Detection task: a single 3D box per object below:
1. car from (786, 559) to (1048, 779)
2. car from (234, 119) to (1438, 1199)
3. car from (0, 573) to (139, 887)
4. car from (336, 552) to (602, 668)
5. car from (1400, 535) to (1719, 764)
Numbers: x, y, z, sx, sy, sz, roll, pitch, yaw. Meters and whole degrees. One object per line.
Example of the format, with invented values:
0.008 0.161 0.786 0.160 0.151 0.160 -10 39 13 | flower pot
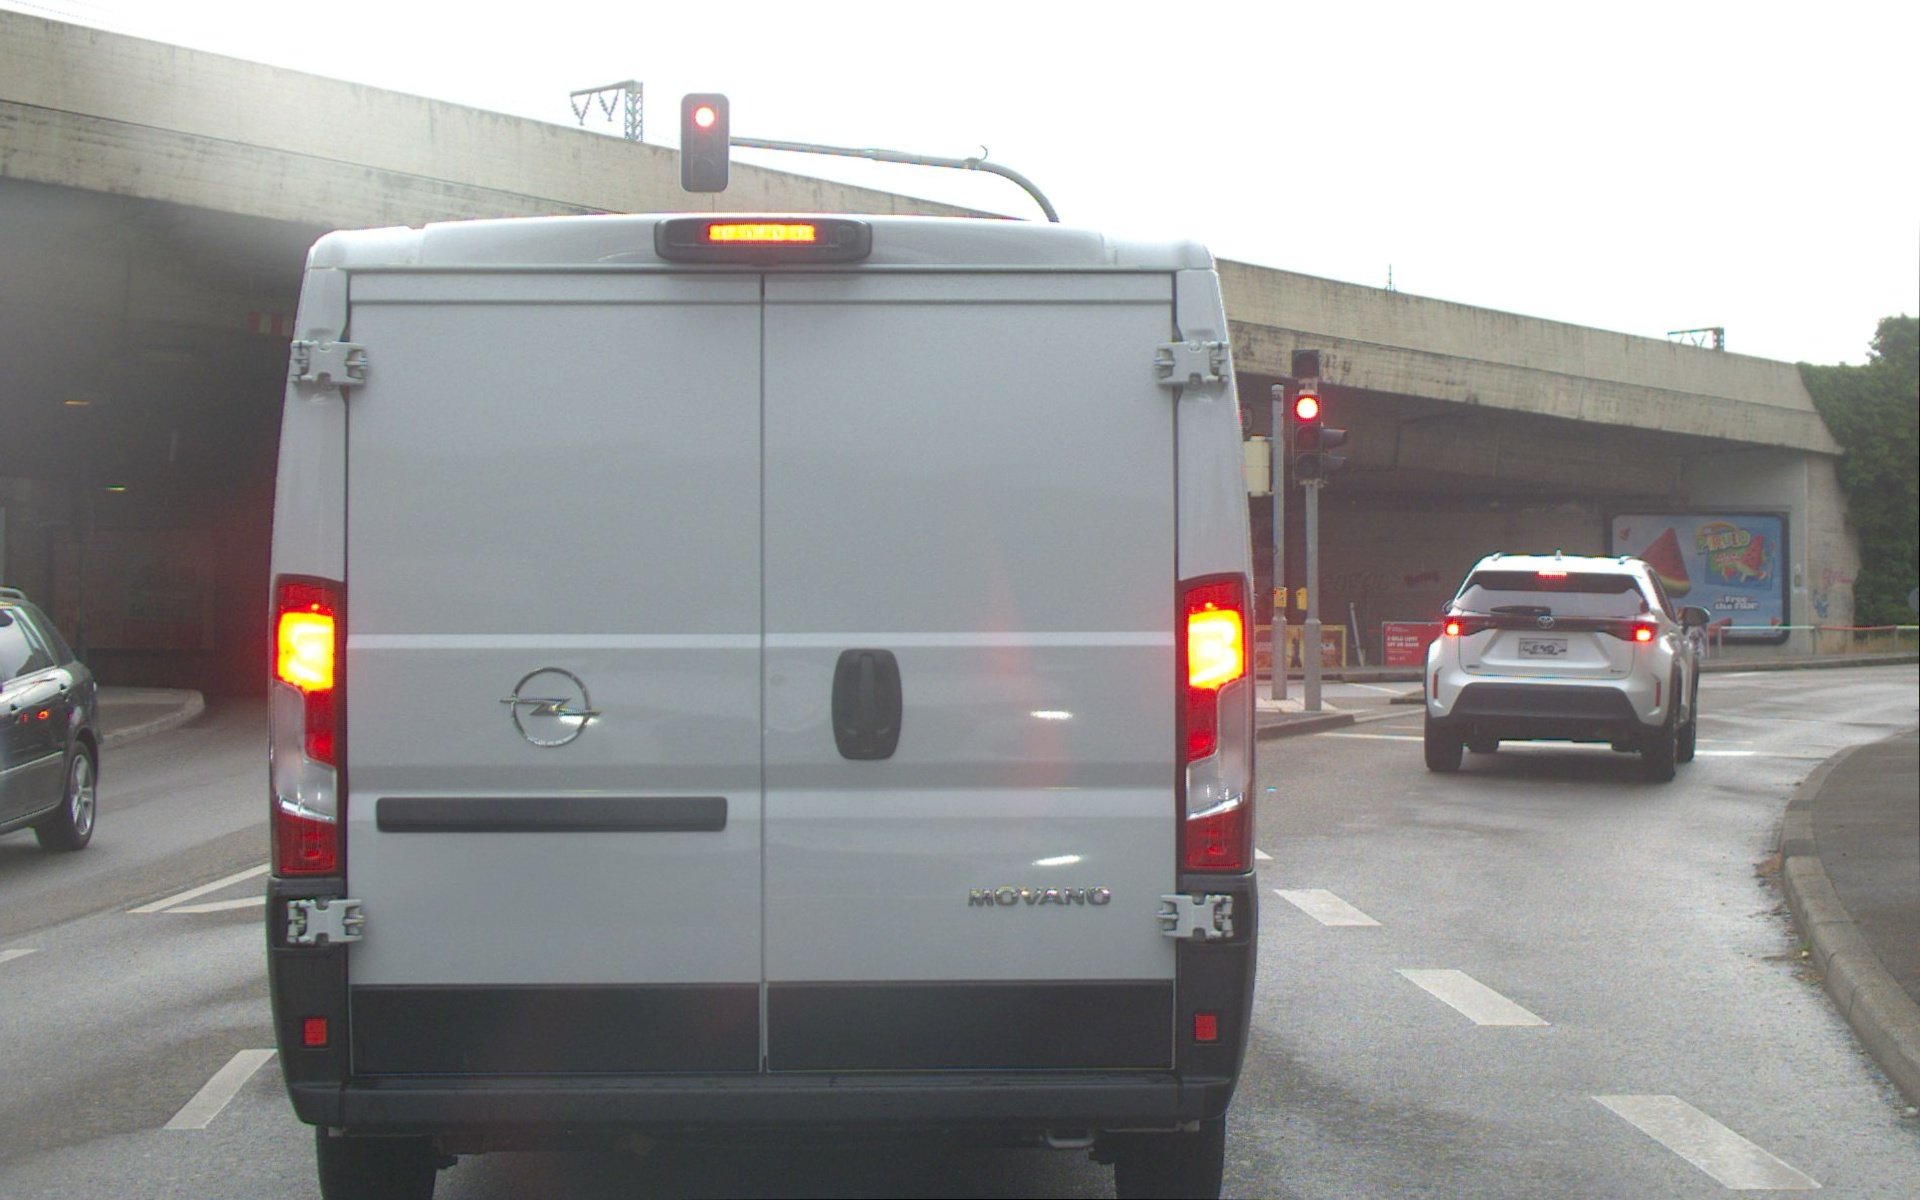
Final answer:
-0.287 0.562 29.038 1.994 1.723 3.999 0 -1 2 | car
-0.263 0.208 9.335 2.305 2.335 5.282 1 1 0 | car
-5.696 0.648 17.569 1.842 1.564 4.412 0 0 2 | car
-6.738 0.154 46.929 1.994 1.513 3.999 1 -1 -35 | car
4.512 0.357 25.431 1.995 1.544 3.997 0 -1 15 | car
